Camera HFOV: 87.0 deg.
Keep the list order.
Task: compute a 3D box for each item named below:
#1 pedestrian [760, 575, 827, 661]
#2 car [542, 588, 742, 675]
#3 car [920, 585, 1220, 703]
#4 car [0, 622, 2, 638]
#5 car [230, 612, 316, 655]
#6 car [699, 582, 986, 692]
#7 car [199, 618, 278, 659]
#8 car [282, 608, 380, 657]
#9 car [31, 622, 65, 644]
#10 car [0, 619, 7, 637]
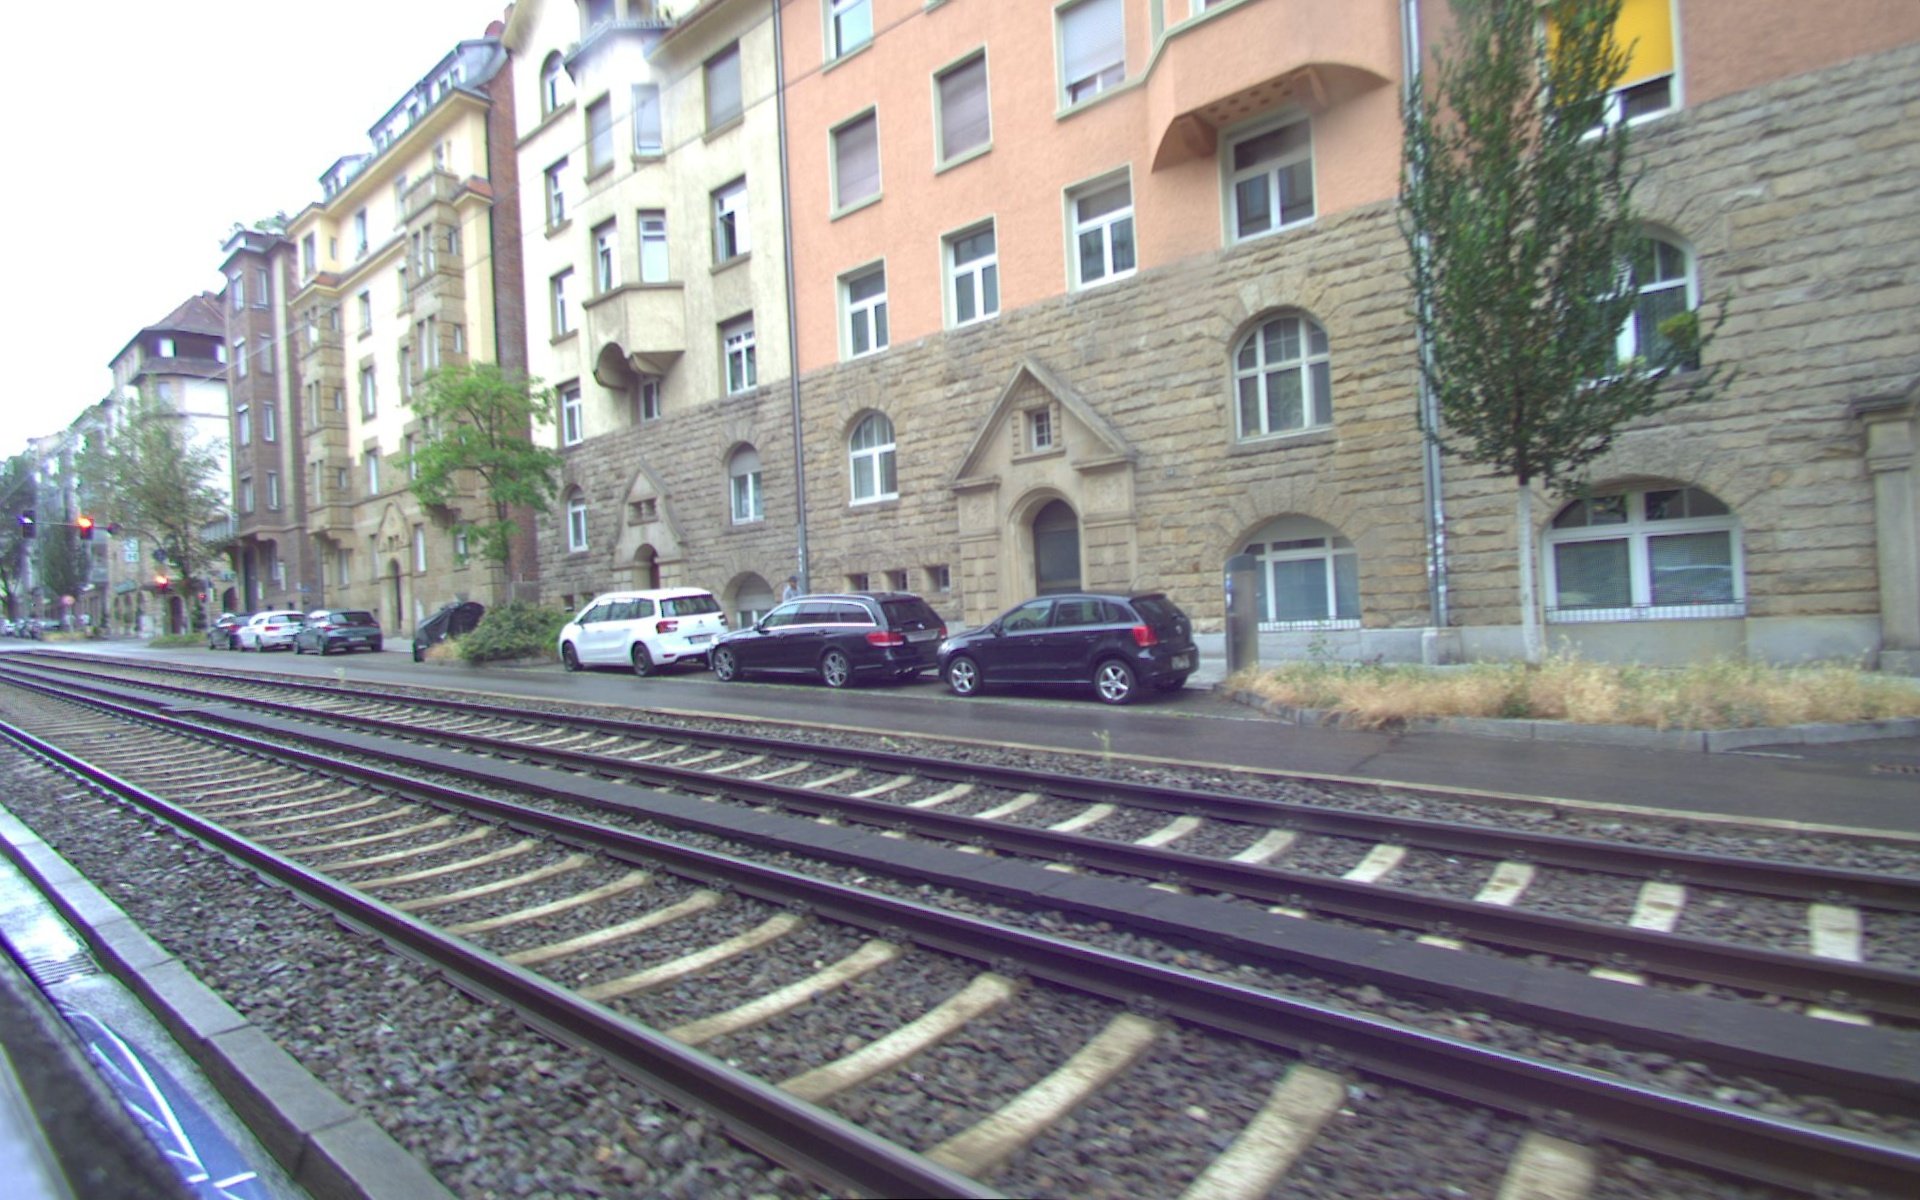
[{"bbox_3d":[-3.575,0.377,21.764,0.923,1.767,0.997,-2,0,38],"label":"pedestrian"},{"bbox_3d":[-6.617,0.626,20.832,4.345,1.601,1.768,-2,0,38],"label":"car"},{"bbox_3d":[1.451,0.573,14.130,3.879,1.408,1.626,-2,0,38],"label":"car"},{"bbox_3d":[-91.764,2.834,95.243,4.465,1.451,1.887,-1,0,40],"label":"car"},{"bbox_3d":[-25.302,1.219,37.224,4.262,1.436,1.649,-1,0,42],"label":"car"},{"bbox_3d":[-2.114,0.580,17.126,4.973,1.520,1.973,-2,2,42],"label":"car"},{"bbox_3d":[-29.094,1.497,40.779,3.999,1.497,1.746,-1,0,42],"label":"car"},{"bbox_3d":[-20.749,1.047,33.307,4.144,1.448,1.545,-1,2,41],"label":"car"},{"bbox_3d":[-67.269,2.389,74.622,1.786,1.509,3.529,-2,0,-44],"label":"car"},{"bbox_3d":[-86.516,2.534,90.307,4.157,1.581,1.758,-1,0,41],"label":"car"}]
